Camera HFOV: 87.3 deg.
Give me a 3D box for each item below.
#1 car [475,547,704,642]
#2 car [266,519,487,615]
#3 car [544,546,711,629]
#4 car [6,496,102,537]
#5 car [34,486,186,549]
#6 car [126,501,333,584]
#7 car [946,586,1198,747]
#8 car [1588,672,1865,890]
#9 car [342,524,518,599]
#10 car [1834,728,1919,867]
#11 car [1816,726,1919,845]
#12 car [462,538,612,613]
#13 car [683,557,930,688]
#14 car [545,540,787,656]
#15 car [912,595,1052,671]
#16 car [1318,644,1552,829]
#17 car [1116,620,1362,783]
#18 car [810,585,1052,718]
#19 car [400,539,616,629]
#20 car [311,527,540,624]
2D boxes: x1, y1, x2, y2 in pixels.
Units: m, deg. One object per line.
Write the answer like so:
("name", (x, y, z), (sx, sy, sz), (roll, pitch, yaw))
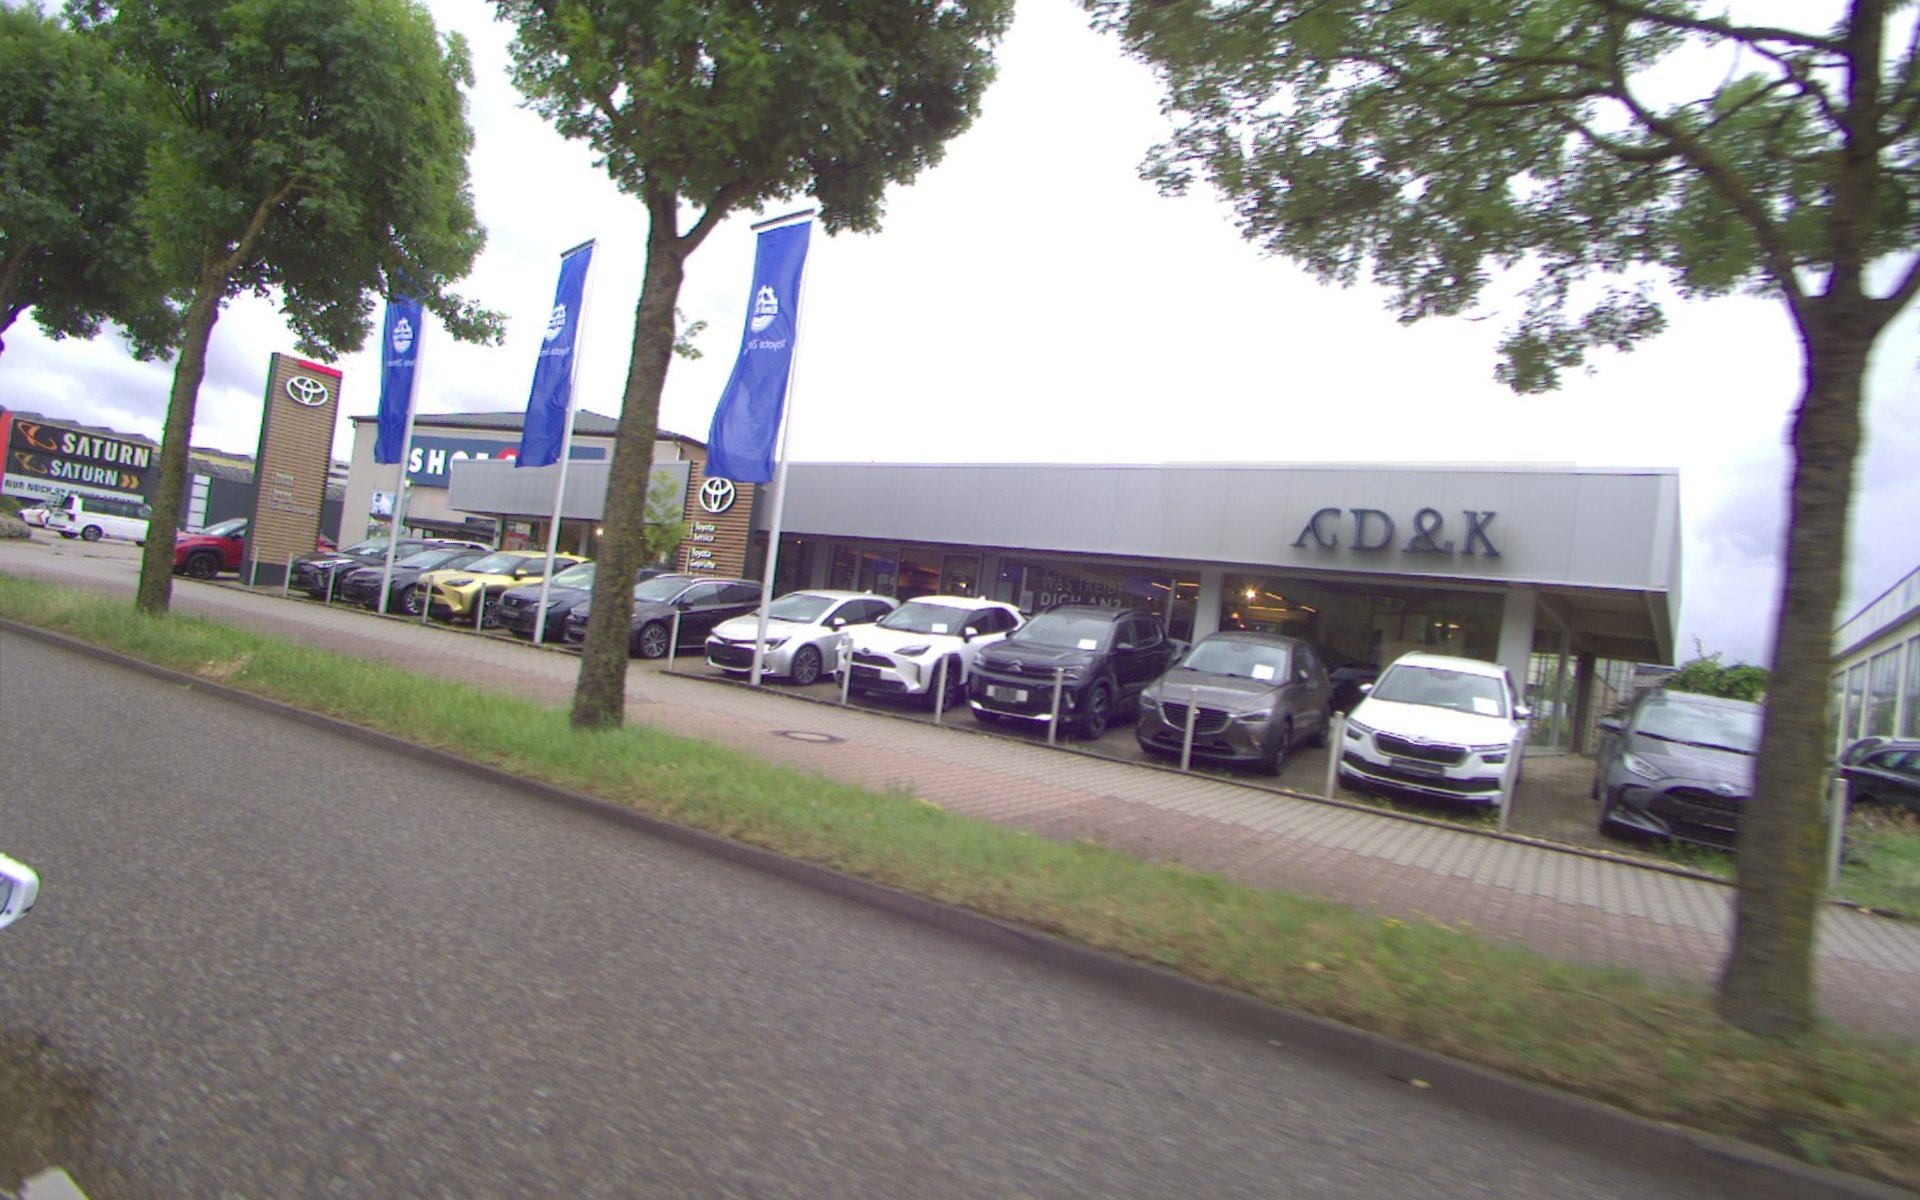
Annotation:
("car", (-7.282, -0.048, 20.143), (1.683, 1.567, 3.986), (7, 2, 34))
("car", (-13.604, -0.717, 23.665), (1.814, 1.667, 3.993), (7, -1, 32))
("car", (-8.624, -0.344, 25.990), (4.056, 1.642, 1.876), (7, 0, 33))
("car", (-49.445, -4.568, 54.910), (4.861, 1.485, 1.887), (8, -1, 22))
("car", (-38.777, -3.703, 46.071), (1.954, 2.037, 4.838), (7, -2, 22))
("car", (-18.594, -1.415, 25.752), (1.766, 1.624, 3.843), (7, 1, 32))
("car", (1.739, 0.847, 14.373), (1.783, 1.811, 3.984), (7, 3, 34))
("car", (7.789, 1.687, 10.613), (1.797, 1.481, 3.833), (7, 2, 32))
("car", (-15.628, -1.101, 29.845), (1.851, 1.641, 4.109), (7, 0, 36))
("car", (11.930, 2.437, 11.124), (1.760, 1.482, 3.693), (7, -1, 13))
("car", (15.007, 2.900, 15.607), (1.968, 1.515, 4.658), (7, -1, 34))
("car", (-12.056, -0.701, 28.629), (4.056, 1.642, 1.876), (7, 0, 33))
("car", (-2.468, 0.374, 17.002), (1.783, 1.810, 3.985), (7, 2, 34))
("car", (-5.328, 0.027, 18.673), (1.783, 1.810, 3.986), (7, 2, 34))
("car", (0.650, 0.900, 26.149), (1.647, 1.554, 3.992), (7, -1, 33))
("car", (5.786, 1.430, 11.984), (1.783, 1.564, 3.984), (7, 3, 34))
("car", (3.769, 1.171, 13.111), (1.783, 1.606, 3.984), (7, 3, 34))
("car", (-0.308, 0.703, 15.708), (1.782, 1.610, 3.986), (8, 4, 31))
("car", (-9.361, -0.282, 21.129), (1.638, 1.587, 3.841), (7, 2, 29))
("car", (-11.593, -0.480, 22.078), (1.770, 1.557, 3.993), (7, -1, 32))
